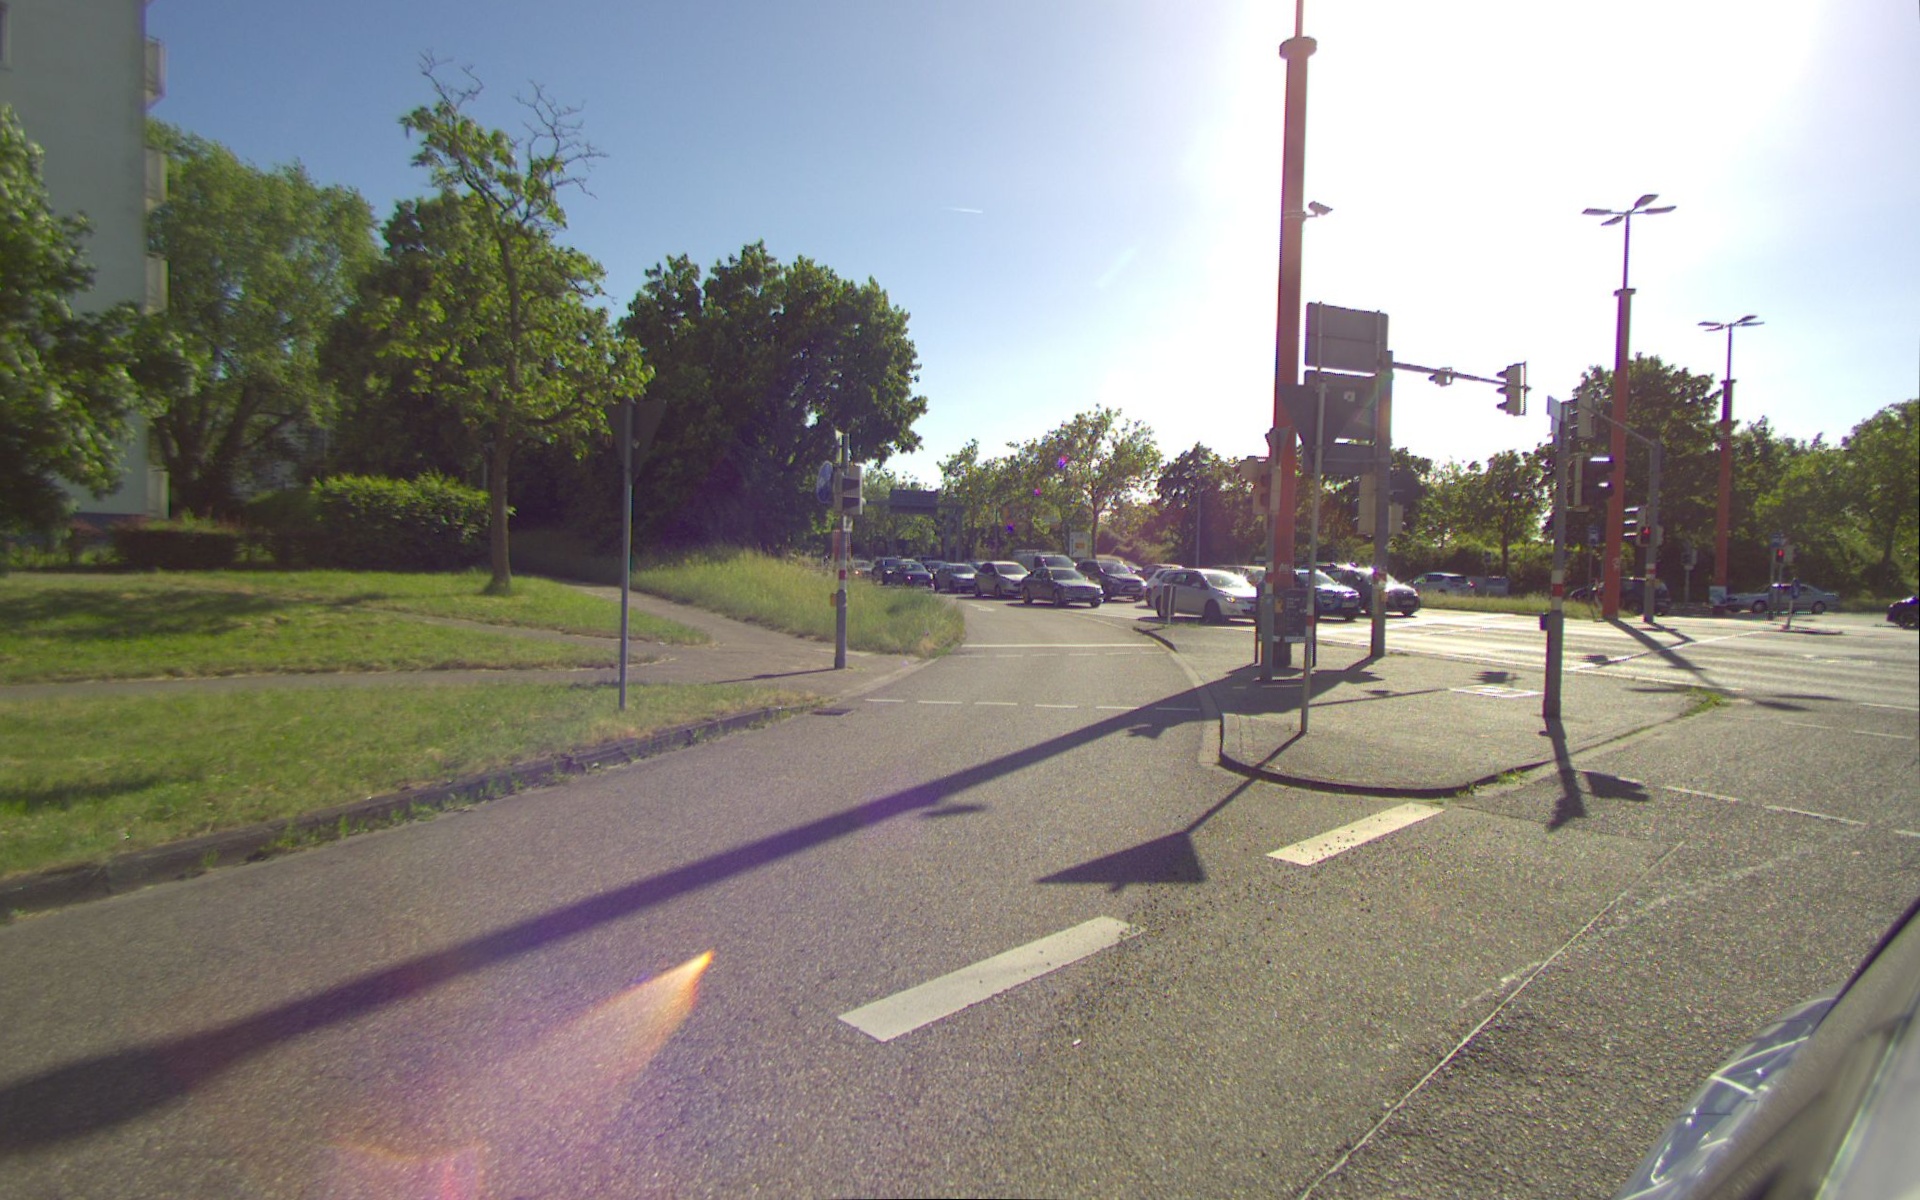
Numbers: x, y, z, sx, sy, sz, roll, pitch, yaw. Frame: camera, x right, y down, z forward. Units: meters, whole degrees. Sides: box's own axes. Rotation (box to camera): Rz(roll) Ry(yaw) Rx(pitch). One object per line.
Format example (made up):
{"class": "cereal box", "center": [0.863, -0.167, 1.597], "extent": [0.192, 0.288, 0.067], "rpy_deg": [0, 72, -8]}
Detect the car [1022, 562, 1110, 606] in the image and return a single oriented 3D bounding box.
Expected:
{"class": "car", "center": [3.917, -0.647, 38.191], "extent": [1.762, 1.529, 4.010], "rpy_deg": [-1, 3, -19]}

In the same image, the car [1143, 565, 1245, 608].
{"class": "car", "center": [8.408, -0.526, 36.717], "extent": [1.762, 1.408, 4.010], "rpy_deg": [-1, 3, -19]}

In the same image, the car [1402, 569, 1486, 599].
{"class": "car", "center": [25.138, -0.857, 52.688], "extent": [1.580, 1.432, 3.876], "rpy_deg": [1, 2, -21]}

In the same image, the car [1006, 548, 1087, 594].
{"class": "car", "center": [4.172, -1.464, 49.870], "extent": [2.048, 2.112, 5.206], "rpy_deg": [-1, 2, -19]}

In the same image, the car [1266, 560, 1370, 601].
{"class": "car", "center": [14.091, -0.816, 40.107], "extent": [1.762, 1.529, 4.010], "rpy_deg": [-1, 3, -19]}

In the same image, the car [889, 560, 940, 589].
{"class": "car", "center": [-2.615, -1.481, 57.279], "extent": [1.762, 1.529, 4.010], "rpy_deg": [-1, 3, -19]}

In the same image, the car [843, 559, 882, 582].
{"class": "car", "center": [-6.830, -2.063, 70.553], "extent": [1.762, 1.529, 4.010], "rpy_deg": [-1, 3, -19]}

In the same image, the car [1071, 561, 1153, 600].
{"class": "car", "center": [6.352, -0.857, 42.804], "extent": [1.762, 1.524, 4.010], "rpy_deg": [-1, 3, -19]}

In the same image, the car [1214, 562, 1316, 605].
{"class": "car", "center": [11.673, -0.696, 39.015], "extent": [1.762, 1.529, 4.010], "rpy_deg": [-1, 3, -19]}

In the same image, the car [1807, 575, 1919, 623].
{"class": "car", "center": [32.162, -0.057, 35.369], "extent": [1.580, 1.525, 3.546], "rpy_deg": [1, 2, -23]}

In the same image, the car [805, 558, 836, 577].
{"class": "car", "center": [-11.683, -2.706, 84.595], "extent": [1.762, 1.529, 4.010], "rpy_deg": [-1, 3, -19]}

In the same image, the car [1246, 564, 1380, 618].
{"class": "car", "center": [10.735, -0.329, 31.097], "extent": [1.762, 1.500, 4.010], "rpy_deg": [-1, 3, -19]}

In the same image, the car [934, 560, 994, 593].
{"class": "car", "center": [0.150, -1.204, 50.669], "extent": [1.762, 1.529, 4.010], "rpy_deg": [-1, 3, -19]}

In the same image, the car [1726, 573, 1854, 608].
{"class": "car", "center": [40.026, -0.473, 48.889], "extent": [4.553, 1.529, 1.800], "rpy_deg": [1, 2, 2]}

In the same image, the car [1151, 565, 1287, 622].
{"class": "car", "center": [7.419, -0.258, 29.466], "extent": [1.762, 1.500, 4.296], "rpy_deg": [-1, 3, -19]}

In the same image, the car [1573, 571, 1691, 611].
{"class": "car", "center": [26.395, -0.381, 39.872], "extent": [1.580, 1.447, 3.546], "rpy_deg": [1, 2, -22]}

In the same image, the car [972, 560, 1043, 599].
{"class": "car", "center": [2.047, -0.957, 44.716], "extent": [1.762, 1.604, 4.010], "rpy_deg": [-1, 3, -19]}

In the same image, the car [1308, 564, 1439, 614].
{"class": "car", "center": [13.471, -0.426, 33.227], "extent": [1.762, 1.500, 4.010], "rpy_deg": [-1, 3, -19]}

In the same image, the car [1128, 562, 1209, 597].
{"class": "car", "center": [9.270, -0.957, 45.302], "extent": [1.762, 1.500, 4.010], "rpy_deg": [-1, 3, -19]}
